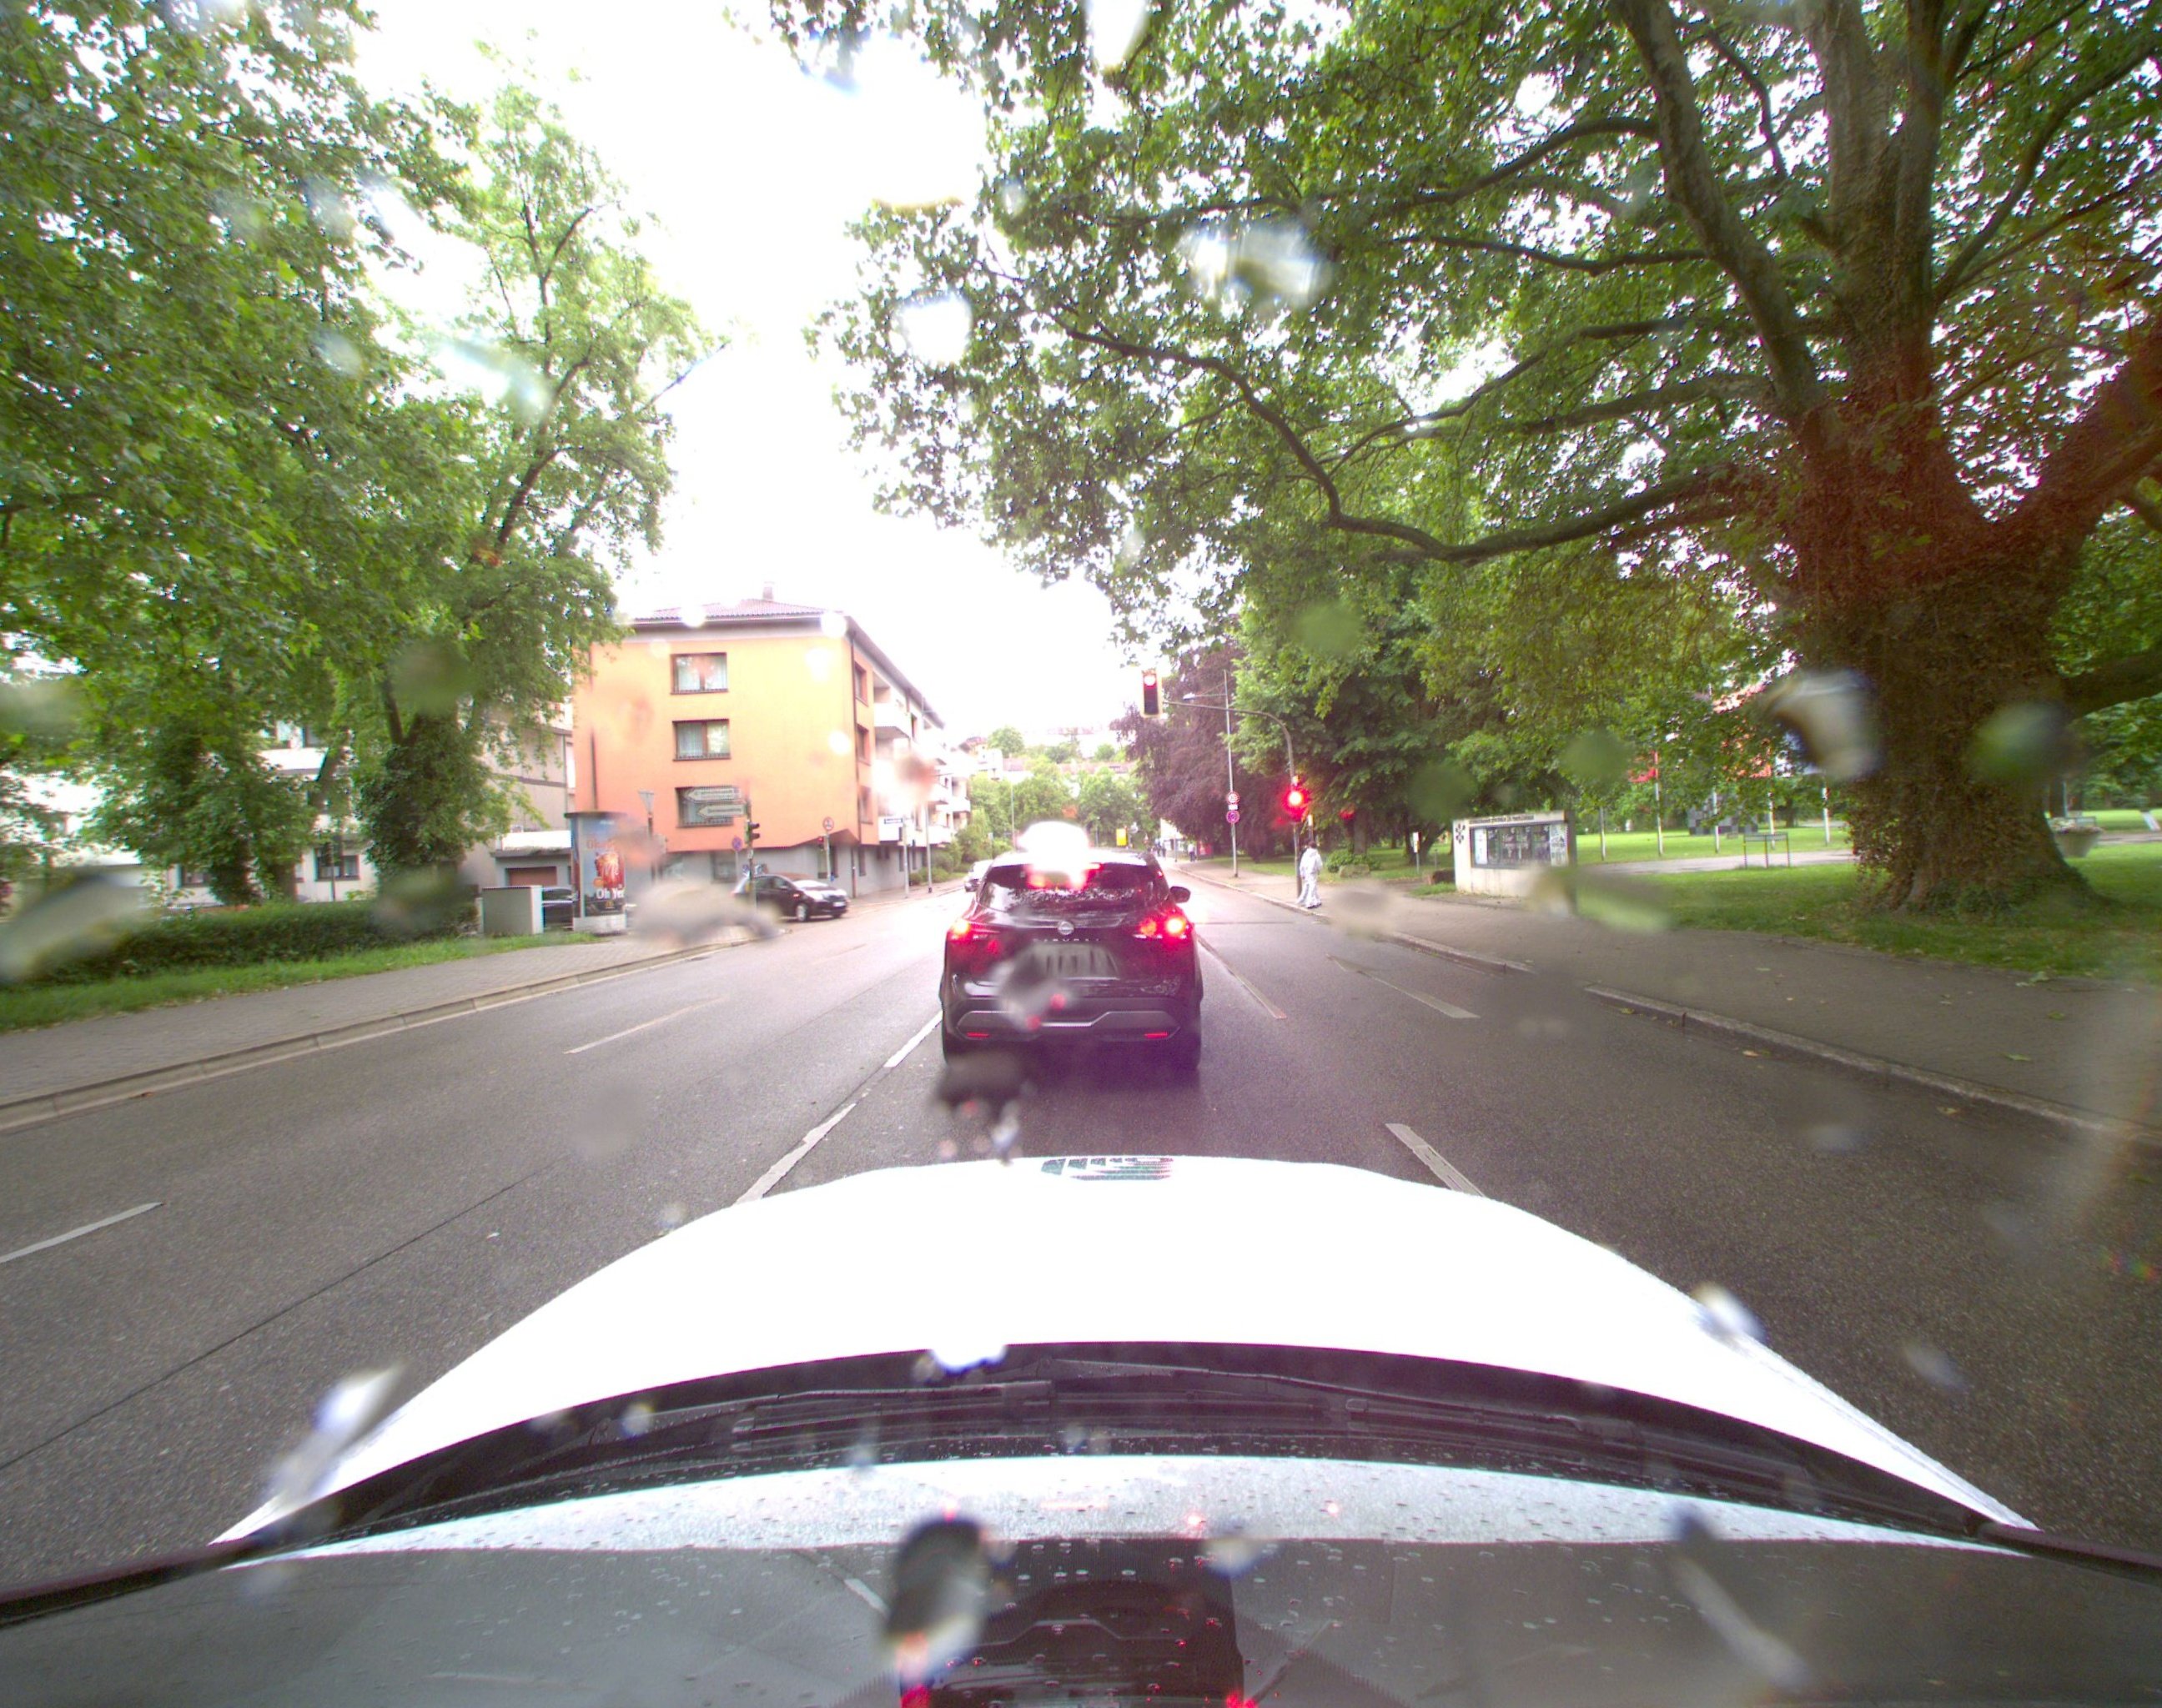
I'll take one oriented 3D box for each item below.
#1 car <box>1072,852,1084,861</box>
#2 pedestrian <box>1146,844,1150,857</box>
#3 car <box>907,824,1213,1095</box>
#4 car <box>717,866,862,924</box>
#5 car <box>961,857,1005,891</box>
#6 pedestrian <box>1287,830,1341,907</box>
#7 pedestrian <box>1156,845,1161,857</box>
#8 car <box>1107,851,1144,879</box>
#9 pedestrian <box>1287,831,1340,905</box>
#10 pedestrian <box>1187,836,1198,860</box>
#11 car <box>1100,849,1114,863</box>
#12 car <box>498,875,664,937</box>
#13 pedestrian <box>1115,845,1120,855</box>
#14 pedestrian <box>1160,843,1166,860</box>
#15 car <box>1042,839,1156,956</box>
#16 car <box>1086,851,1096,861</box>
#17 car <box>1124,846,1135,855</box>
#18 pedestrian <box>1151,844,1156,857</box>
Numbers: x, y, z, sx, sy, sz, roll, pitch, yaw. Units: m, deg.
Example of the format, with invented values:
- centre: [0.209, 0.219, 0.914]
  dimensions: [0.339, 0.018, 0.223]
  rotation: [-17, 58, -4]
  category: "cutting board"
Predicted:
- centre: [-0.596, 0.400, 151.067]
  dimensions: [1.963, 1.532, 3.969]
  rotation: [-3, 0, 2]
  category: "car"
- centre: [9.747, -0.544, 118.984]
  dimensions: [0.506, 1.802, 0.620]
  rotation: [-3, 0, 1]
  category: "pedestrian"
- centre: [-0.065, 0.663, 7.139]
  dimensions: [1.906, 1.680, 4.002]
  rotation: [-1, 0, 2]
  category: "car"
- centre: [-8.956, 1.252, 25.062]
  dimensions: [3.822, 1.533, 1.811]
  rotation: [-4, 0, 20]
  category: "car"
- centre: [-4.882, 0.961, 41.104]
  dimensions: [1.791, 1.533, 3.865]
  rotation: [-3, 0, -2]
  category: "car"
- centre: [5.966, 0.361, 20.910]
  dimensions: [1.035, 1.876, 0.656]
  rotation: [-4, 0, -9]
  category: "pedestrian"
- centre: [11.298, -0.411, 118.721]
  dimensions: [0.507, 1.802, 0.619]
  rotation: [-3, 0, 0]
  category: "pedestrian"
- centre: [2.448, 0.606, 46.139]
  dimensions: [1.820, 1.403, 4.651]
  rotation: [-4, 0, 1]
  category: "car"
- centre: [6.171, 0.365, 21.658]
  dimensions: [1.035, 1.876, 0.656]
  rotation: [-4, 0, -9]
  category: "pedestrian"
- centre: [9.607, -0.489, 70.387]
  dimensions: [0.722, 2.013, 0.852]
  rotation: [-3, 0, 2]
  category: "pedestrian"
- centre: [3.139, 0.200, 98.758]
  dimensions: [1.628, 1.532, 3.969]
  rotation: [-3, 0, 2]
  category: "car"
- centre: [-16.499, 1.673, 27.041]
  dimensions: [4.292, 1.678, 1.725]
  rotation: [-3, 0, -5]
  category: "car"
- centre: [6.088, -0.619, 135.226]
  dimensions: [0.503, 1.673, 0.663]
  rotation: [-3, 0, 29]
  category: "pedestrian"
- centre: [9.269, -0.278, 92.310]
  dimensions: [0.506, 1.802, 0.620]
  rotation: [-3, 0, 1]
  category: "pedestrian"
- centre: [0.336, 0.678, 14.616]
  dimensions: [1.692, 1.745, 3.642]
  rotation: [-3, 0, 2]
  category: "car"
- centre: [1.718, 0.314, 142.584]
  dimensions: [1.628, 1.532, 3.969]
  rotation: [-3, 0, 2]
  category: "car"
- centre: [9.084, -0.623, 152.166]
  dimensions: [1.983, 1.735, 4.007]
  rotation: [0, 0, 7]
  category: "car"
- centre: [10.486, -0.552, 118.106]
  dimensions: [0.506, 1.802, 0.659]
  rotation: [-3, 0, 1]
  category: "pedestrian"
